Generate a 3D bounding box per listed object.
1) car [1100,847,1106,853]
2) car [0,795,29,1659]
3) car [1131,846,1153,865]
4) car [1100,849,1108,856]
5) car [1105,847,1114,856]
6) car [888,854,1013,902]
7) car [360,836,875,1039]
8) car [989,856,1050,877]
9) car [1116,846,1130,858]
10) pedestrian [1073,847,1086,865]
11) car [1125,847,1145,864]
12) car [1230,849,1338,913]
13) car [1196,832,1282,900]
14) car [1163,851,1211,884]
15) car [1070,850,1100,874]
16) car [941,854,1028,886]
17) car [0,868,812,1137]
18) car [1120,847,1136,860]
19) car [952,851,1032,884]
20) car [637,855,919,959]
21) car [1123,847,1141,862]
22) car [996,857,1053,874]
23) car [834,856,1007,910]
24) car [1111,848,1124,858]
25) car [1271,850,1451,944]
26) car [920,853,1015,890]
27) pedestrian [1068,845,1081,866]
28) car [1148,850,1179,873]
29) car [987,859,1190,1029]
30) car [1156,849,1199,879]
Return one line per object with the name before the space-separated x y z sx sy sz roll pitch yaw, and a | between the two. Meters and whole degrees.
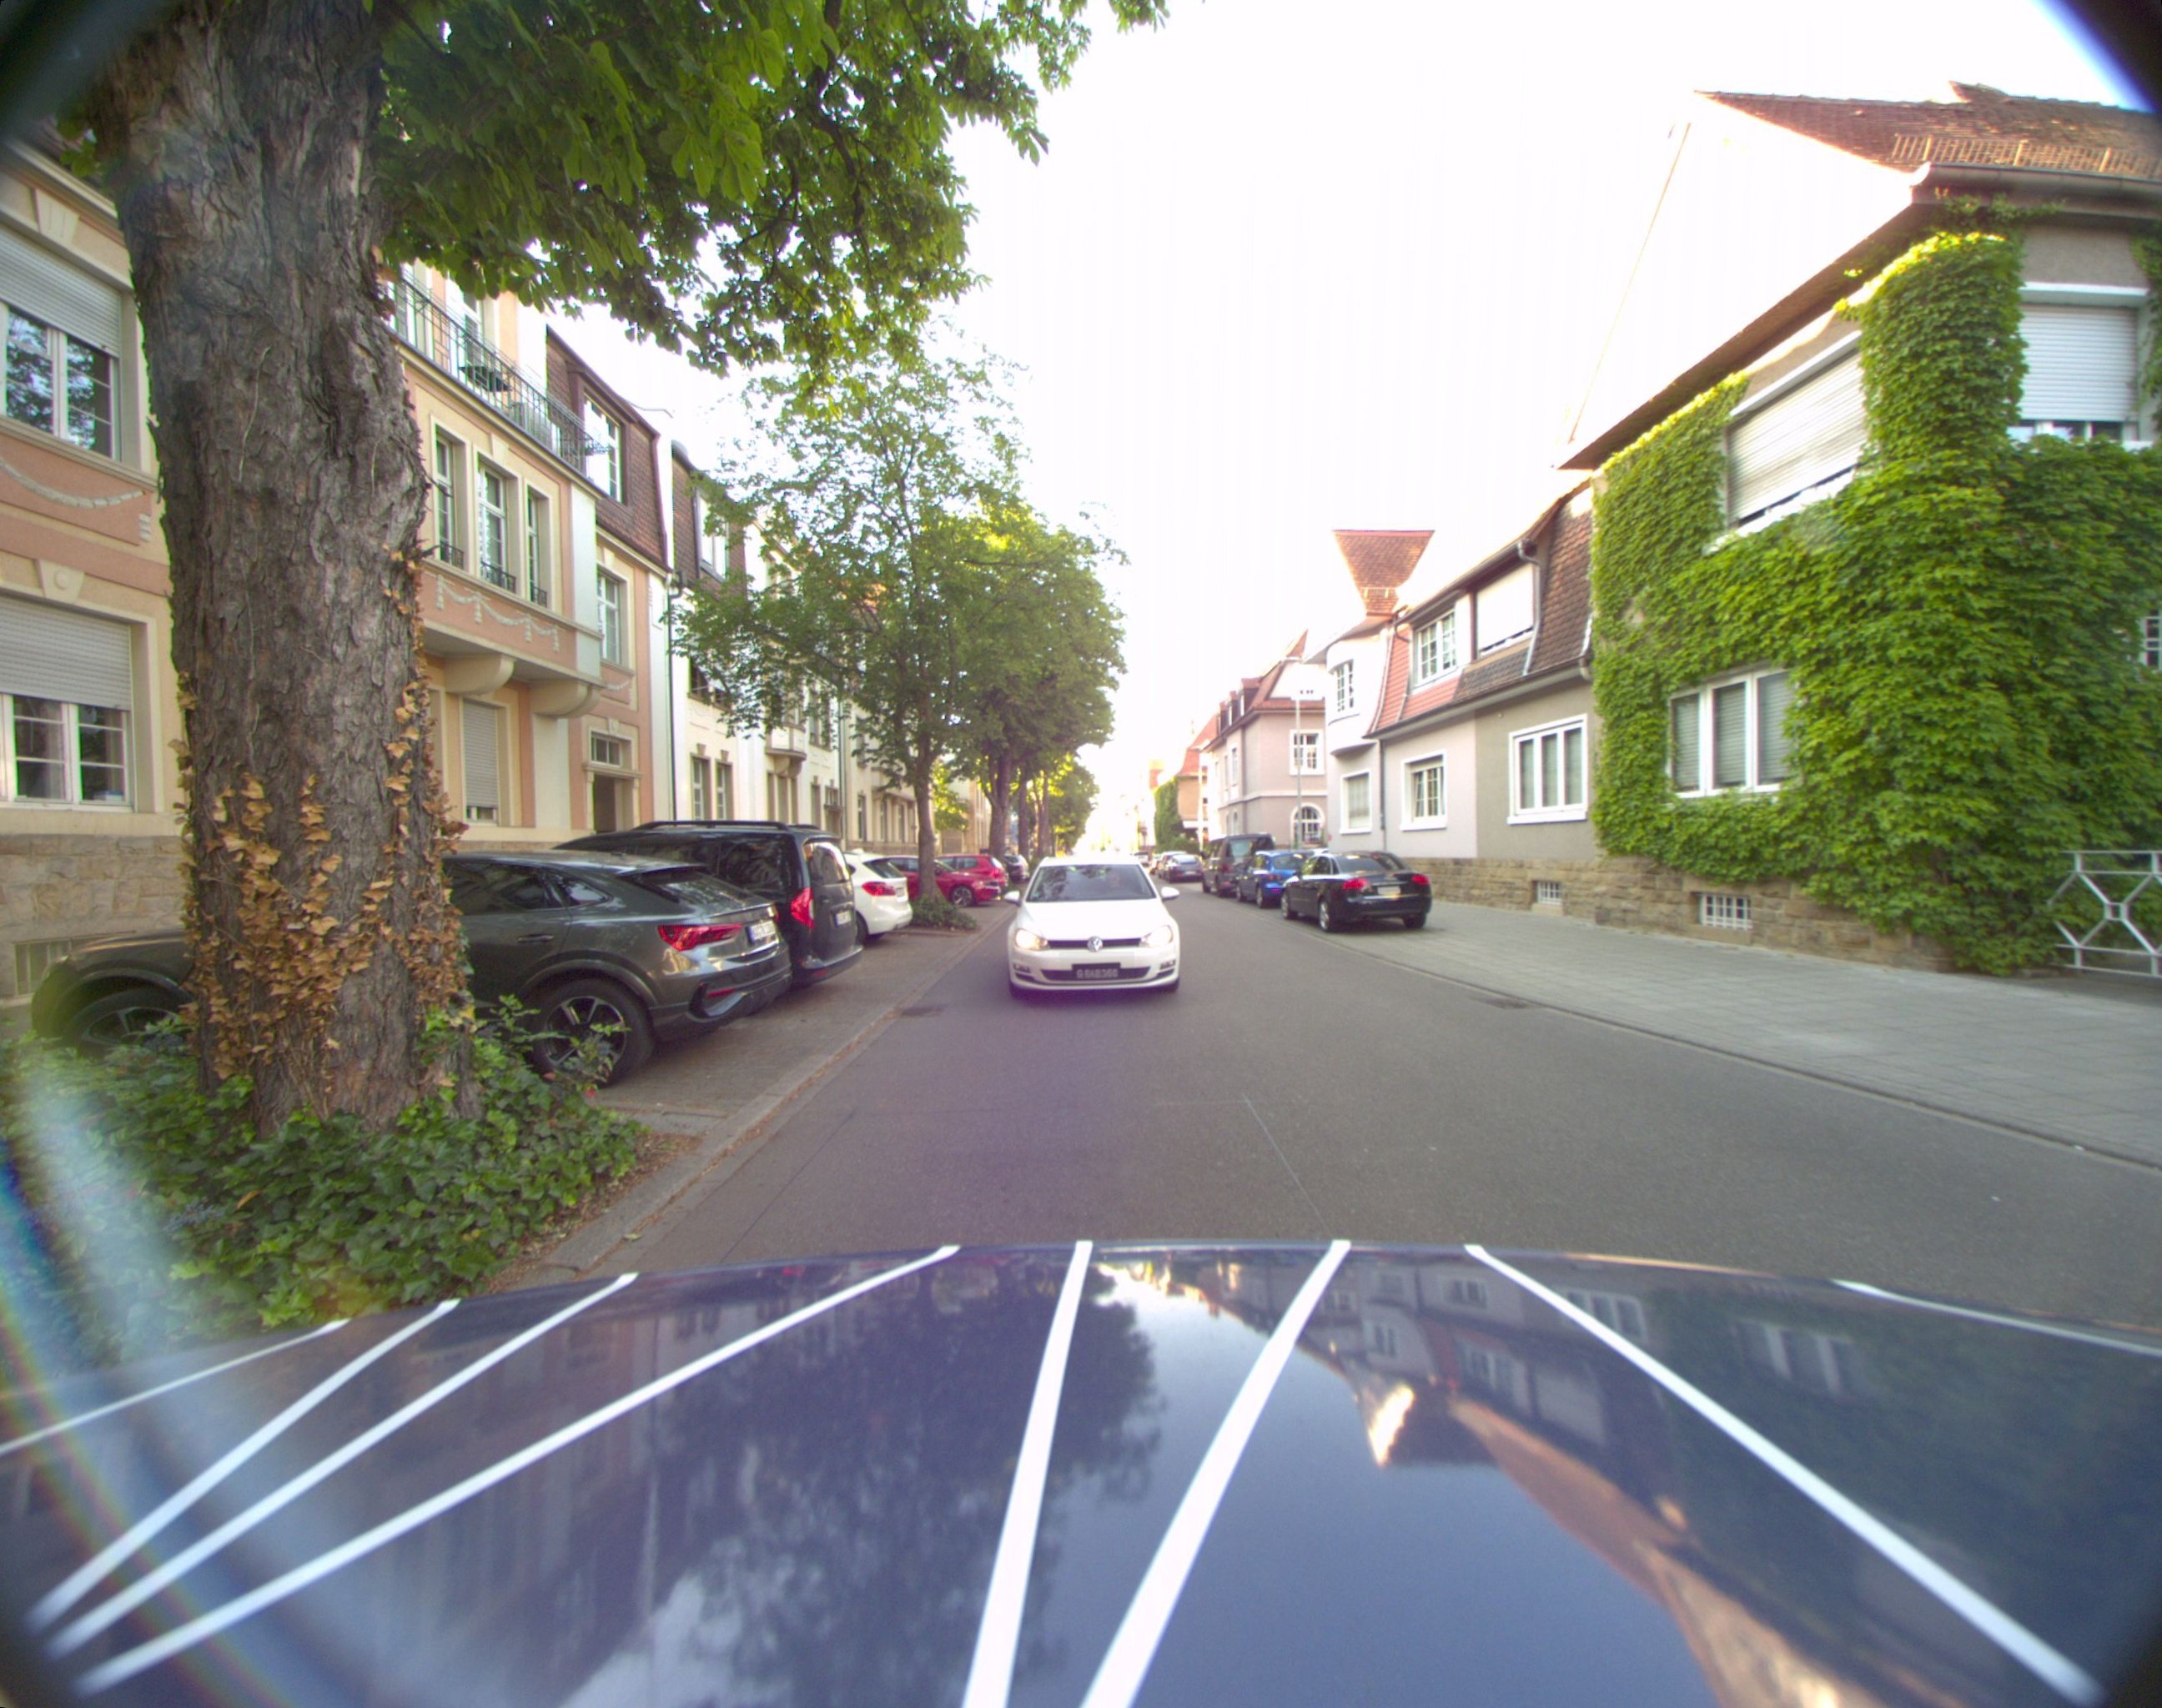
car | 5.848 -1.048 202.663 1.699 1.520 3.677 -3 1 2
car | -4.592 0.774 0.517 4.763 1.864 1.896 0 1 -4
car | 5.423 0.142 68.001 1.699 1.558 3.677 -3 1 2
car | 5.290 -0.288 173.284 1.699 1.520 3.677 -3 1 2
car | 5.577 -0.493 149.114 1.699 1.520 3.677 -3 1 2
car | -4.137 0.752 24.461 3.680 1.473 1.659 0 1 3
car | -4.435 0.741 7.827 4.121 1.827 1.844 0 1 -2
car | -3.563 0.729 44.431 3.399 1.143 1.542 0 1 2
car | 5.548 -0.258 100.730 1.699 1.520 3.677 -3 1 2
pedestrian | -0.182 0.186 82.435 1.276 1.927 1.186 -3 1 -1
car | 5.337 0.109 75.266 1.699 1.520 3.677 -3 1 2
car | 5.282 0.643 20.338 1.768 1.438 4.062 -3 1 0
car | 5.147 0.351 25.349 1.842 1.964 4.612 -3 1 0
car | 5.063 0.591 36.662 1.932 1.376 4.063 -3 1 4
car | 0.287 0.503 49.085 1.819 1.454 4.072 -2 0 1
car | -4.312 0.714 34.321 3.680 1.390 1.576 0 1 2
car | -4.537 0.892 5.502 4.522 1.514 1.844 0 1 -4
car | 5.567 -0.058 91.004 1.699 1.520 3.677 -3 1 2
car | -4.279 0.623 36.835 3.680 1.548 1.576 0 1 2
car | -4.829 0.820 12.527 3.950 1.568 1.719 0 1 0
car | 5.439 0.050 80.758 1.699 1.520 3.677 -3 1 2
car | -3.514 0.722 47.637 3.399 1.057 1.542 0 1 2
car | -4.532 0.801 21.933 4.530 1.443 1.867 0 1 3
car | 5.553 -0.152 115.857 1.699 1.520 3.677 -3 1 2
car | 5.140 0.695 14.661 1.806 1.438 4.428 -3 1 0
car | -4.676 0.711 31.705 3.680 1.458 1.576 0 1 2
pedestrian | -0.627 0.144 70.087 1.119 1.927 1.097 -3 1 -1
car | 5.441 0.466 50.378 1.662 1.354 3.677 -3 1 2
car | 0.107 0.848 9.036 1.819 1.454 4.072 -2 0 1
car | 5.285 0.500 42.139 1.932 1.458 4.062 -3 1 2
